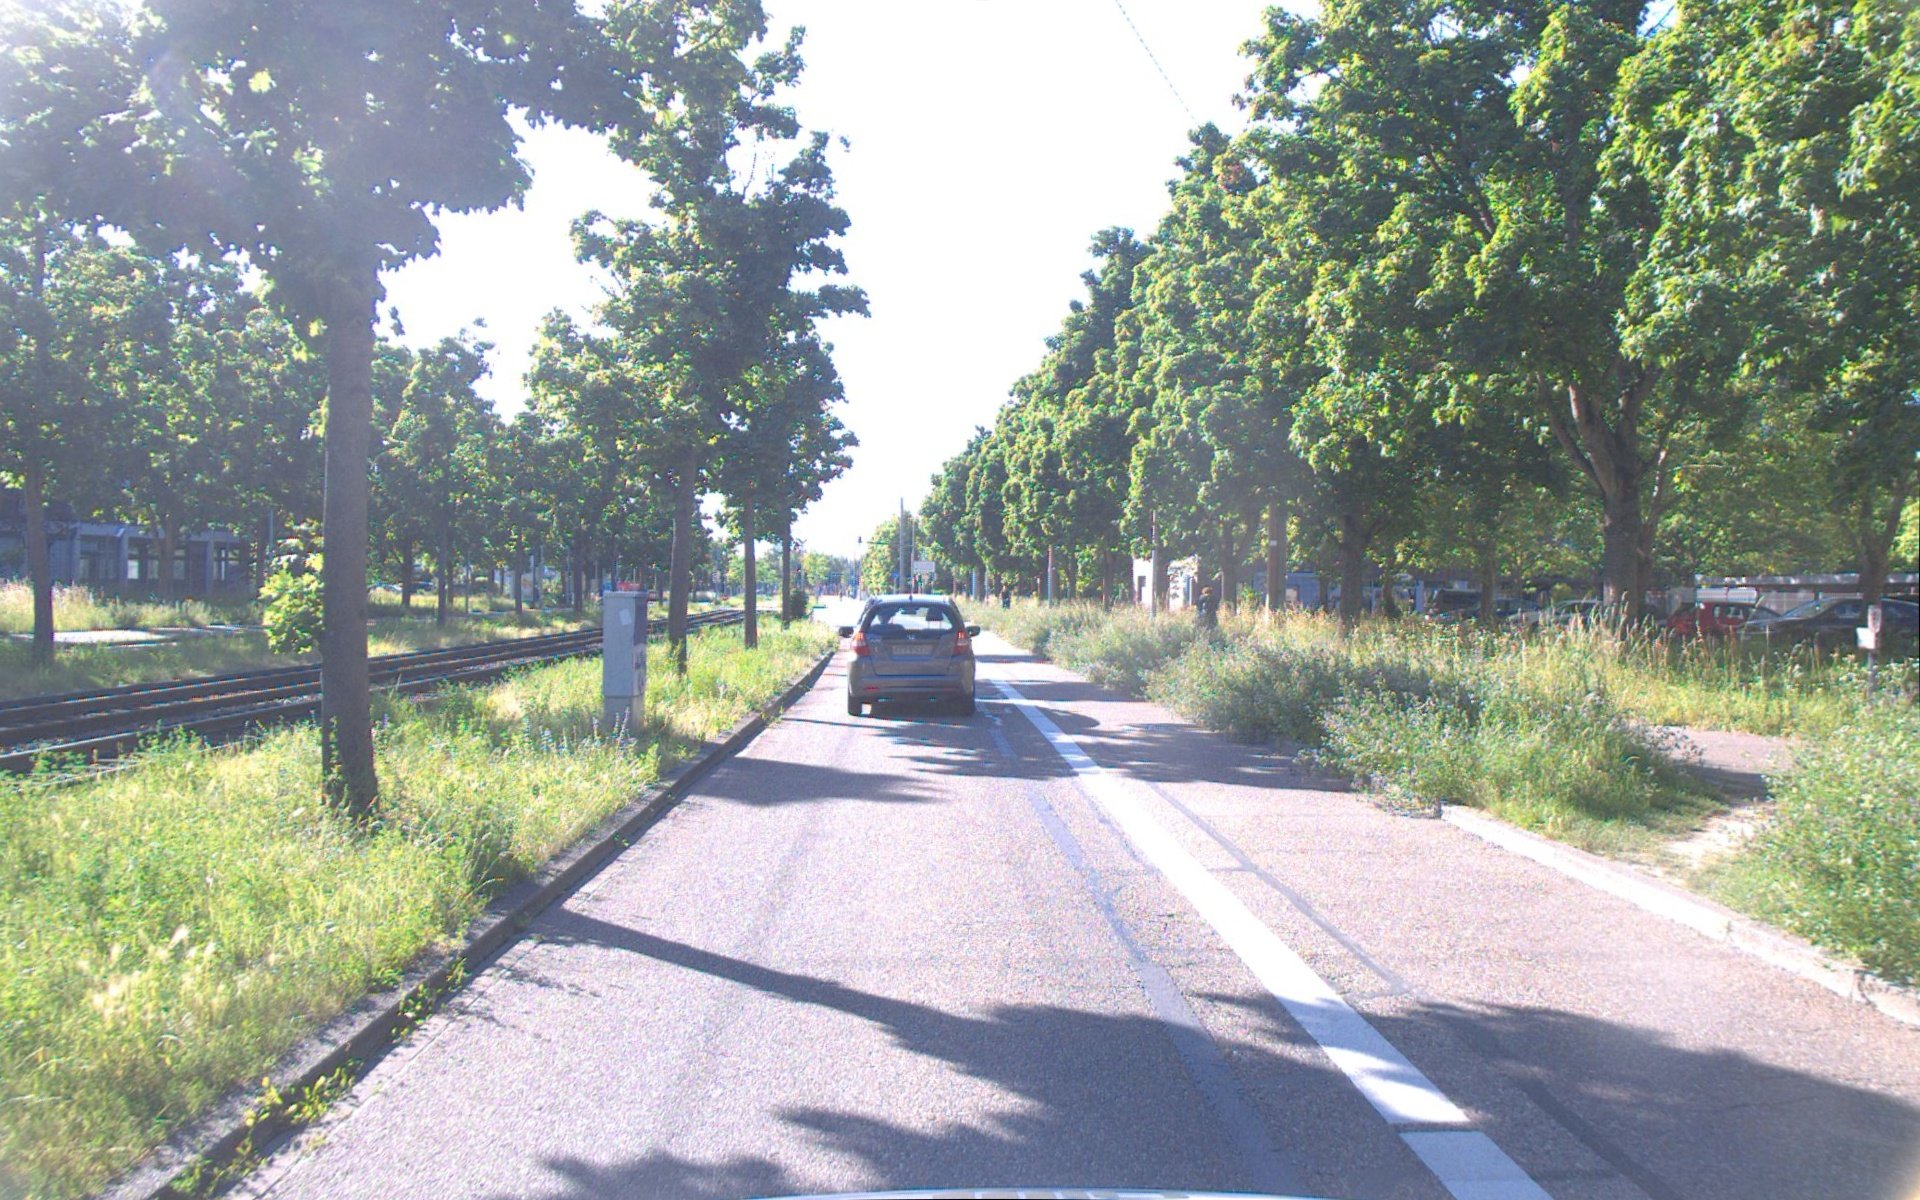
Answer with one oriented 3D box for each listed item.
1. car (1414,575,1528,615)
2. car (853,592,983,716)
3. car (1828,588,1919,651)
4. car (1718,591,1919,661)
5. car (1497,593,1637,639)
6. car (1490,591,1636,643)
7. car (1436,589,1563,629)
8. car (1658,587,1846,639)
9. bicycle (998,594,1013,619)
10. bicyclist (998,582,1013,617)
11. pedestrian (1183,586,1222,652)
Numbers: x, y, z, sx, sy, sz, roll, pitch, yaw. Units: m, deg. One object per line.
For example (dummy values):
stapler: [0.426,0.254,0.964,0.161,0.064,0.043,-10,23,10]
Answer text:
car: [20.157,-0.189,65.289,3.948,1.531,1.738,0,0,-2]
car: [-0.615,0.658,22.136,1.592,1.526,3.454,0,0,-3]
car: [31.814,0.638,55.359,4.492,2.049,1.957,0,0,-1]
car: [20.871,0.606,39.965,4.306,1.624,1.882,0,0,-6]
car: [20.555,0.519,56.131,4.079,1.457,1.825,1,0,1]
car: [18.675,0.527,51.294,3.917,1.552,1.704,0,0,-6]
car: [20.445,0.327,62.793,4.266,1.484,1.689,0,0,1]
car: [21.584,0.352,45.209,4.203,1.347,1.941,0,1,2]
bicycle: [2.293,0.324,83.896,0.473,1.225,2.140,1,-2,-7]
bicyclist: [2.306,-0.032,83.895,0.670,1.750,0.901,0,-1,-6]
pedestrian: [5.891,0.458,40.193,0.807,1.596,0.762,1,0,-2]
